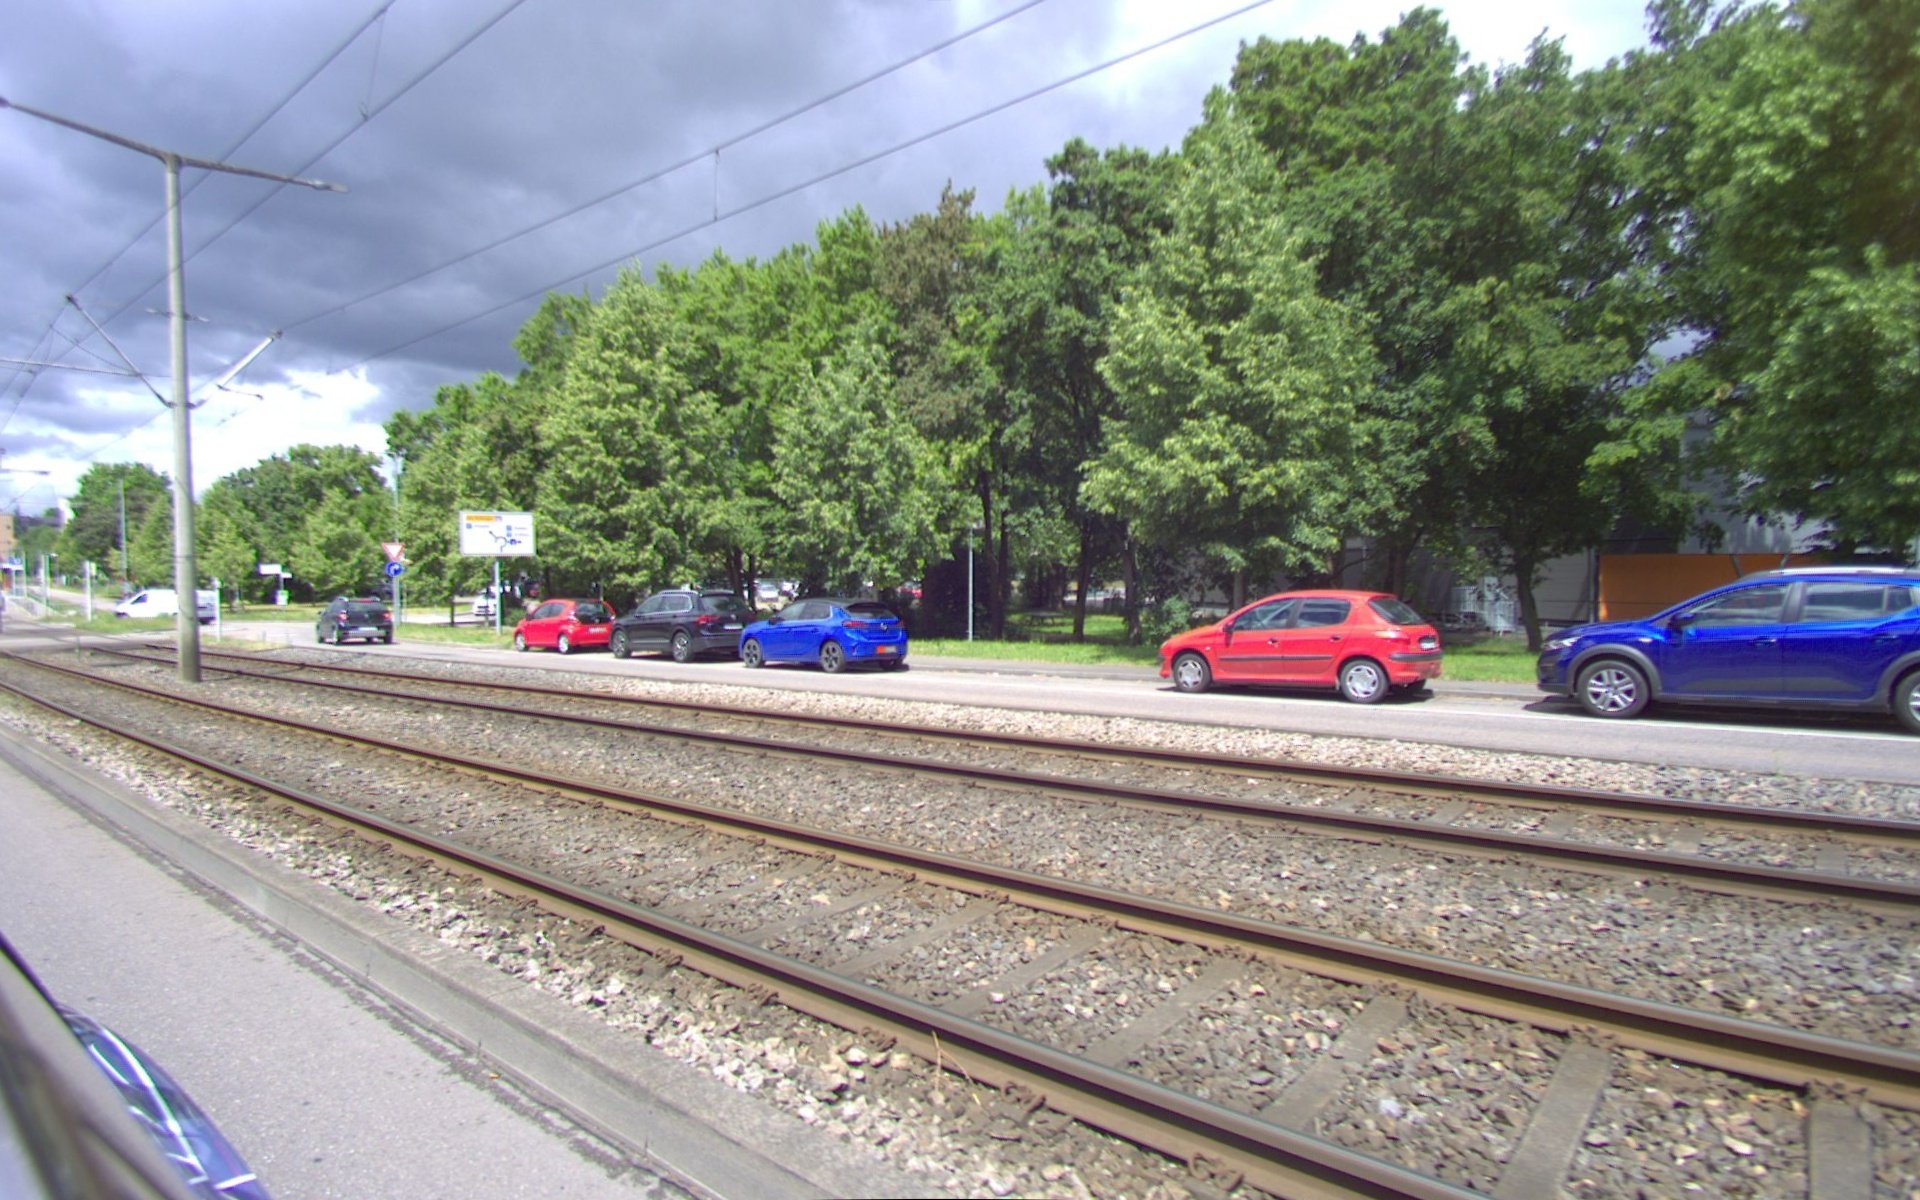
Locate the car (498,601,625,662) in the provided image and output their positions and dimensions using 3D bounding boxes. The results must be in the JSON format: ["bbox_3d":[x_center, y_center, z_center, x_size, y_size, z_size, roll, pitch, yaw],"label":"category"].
[{"bbox_3d":[-11.007,0.818,27.874,3.657,1.462,1.598,1,3,38],"label":"car"}]

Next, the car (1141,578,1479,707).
[{"bbox_3d":[4.661,0.533,13.850,4.047,1.505,1.595,-2,0,43],"label":"car"}]

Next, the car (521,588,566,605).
[{"bbox_3d":[-38.684,-0.337,94.097,1.630,1.602,3.567,0,0,44],"label":"car"}]

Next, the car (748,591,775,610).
[{"bbox_3d":[-16.597,0.019,84.698,1.728,1.430,4.013,-2,3,-17],"label":"car"}]

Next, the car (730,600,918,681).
[{"bbox_3d":[-2.817,0.758,20.374,4.008,1.472,1.595,-1,-1,43],"label":"car"}]

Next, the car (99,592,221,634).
[{"bbox_3d":[-42.821,0.687,54.204,5.168,2.033,1.879,-1,3,5],"label":"car"}]

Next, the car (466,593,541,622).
[{"bbox_3d":[-31.195,0.461,69.283,1.742,1.702,4.291,1,3,42],"label":"car"}]

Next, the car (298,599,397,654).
[{"bbox_3d":[-20.106,0.814,33.139,3.998,1.585,1.597,1,3,41],"label":"car"}]

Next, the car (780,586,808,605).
[{"bbox_3d":[-14.081,-0.363,85.853,1.728,1.430,4.013,-2,3,-17],"label":"car"}]

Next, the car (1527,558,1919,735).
[{"bbox_3d":[8.394,0.445,10.471,4.159,1.608,1.540,-1,-1,42],"label":"car"}]

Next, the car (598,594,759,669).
[{"bbox_3d":[-6.729,0.706,23.910,4.373,1.617,1.563,-1,-1,42],"label":"car"}]

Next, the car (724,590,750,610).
[{"bbox_3d":[-18.553,-0.027,84.090,1.728,1.430,4.013,-2,3,-17],"label":"car"}]
